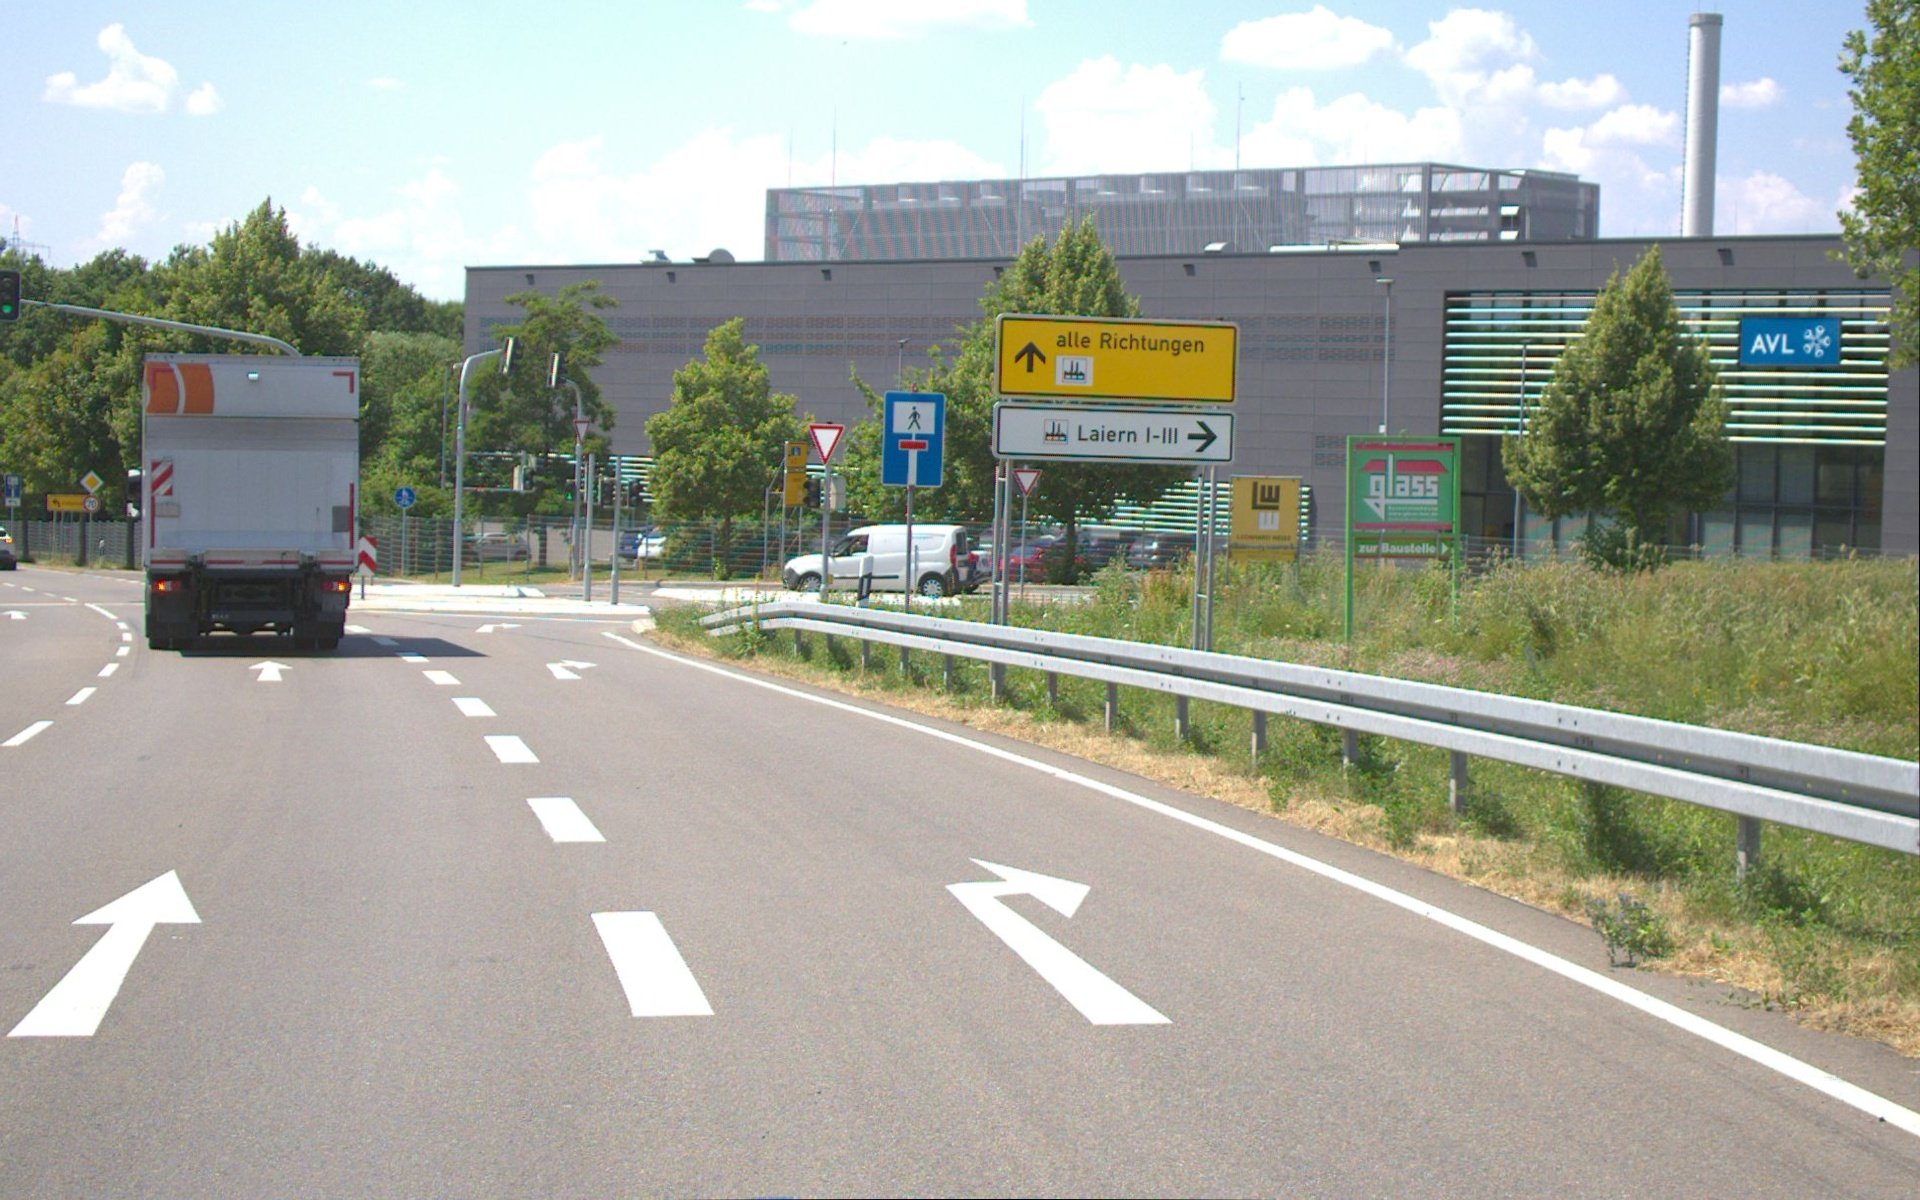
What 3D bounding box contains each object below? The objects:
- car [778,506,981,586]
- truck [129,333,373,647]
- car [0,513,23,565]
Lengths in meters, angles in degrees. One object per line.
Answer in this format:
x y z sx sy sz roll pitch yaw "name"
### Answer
-2.009 -1.368 86.500 4.747 1.925 2.153 1 1 11 "car"
-9.407 -1.464 45.481 2.803 3.698 9.111 1 2 -12 "truck"
-32.951 -2.126 116.160 1.943 1.658 4.001 3 1 -22 "car"
